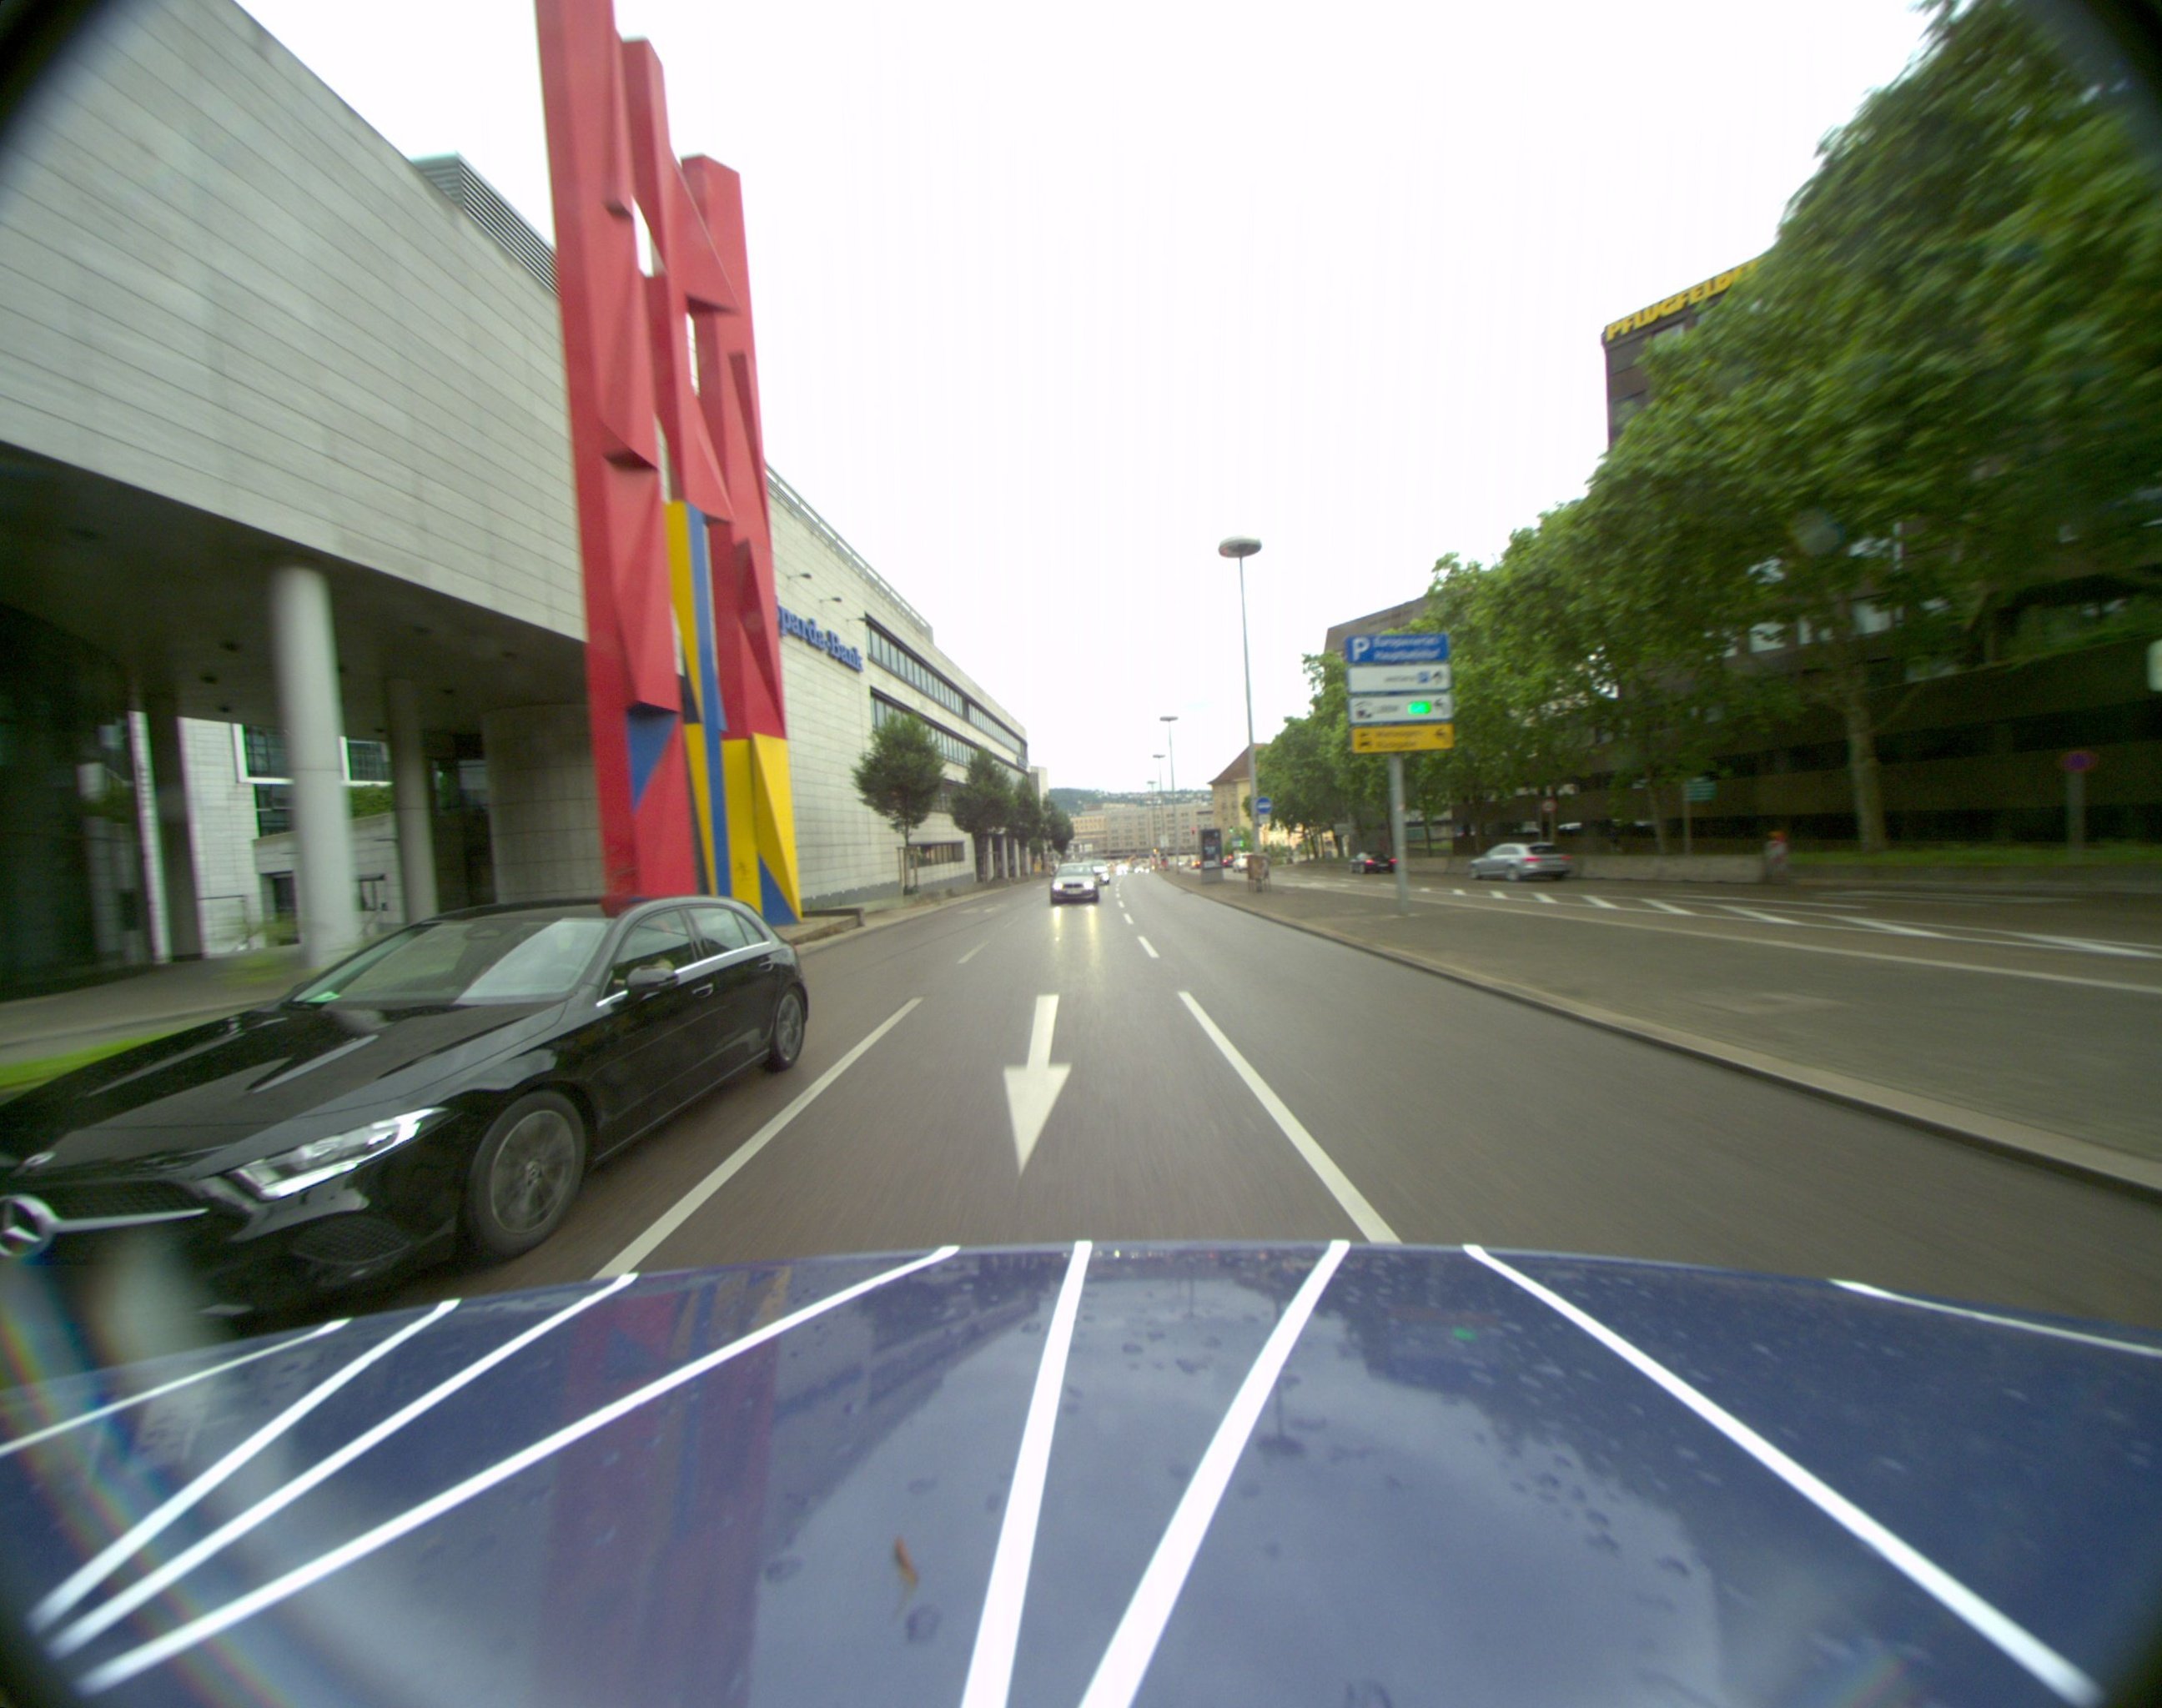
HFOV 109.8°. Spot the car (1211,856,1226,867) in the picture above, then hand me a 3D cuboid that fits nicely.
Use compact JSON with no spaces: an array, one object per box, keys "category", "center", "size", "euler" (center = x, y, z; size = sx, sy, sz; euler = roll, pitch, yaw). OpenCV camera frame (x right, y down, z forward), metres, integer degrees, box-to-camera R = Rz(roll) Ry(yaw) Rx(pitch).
[{"category":"car","center":[20.340,1.095,112.433],"size":[1.937,1.428,4.078],"euler":[-2,0,6]}]

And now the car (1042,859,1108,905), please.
[{"category":"car","center":[-0.151,0.973,28.085],"size":[1.862,1.428,4.207],"euler":[-2,0,7]}]

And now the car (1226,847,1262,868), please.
[{"category":"car","center":[12.582,0.254,58.765],"size":[1.758,1.510,3.739],"euler":[-2,0,-3]}]

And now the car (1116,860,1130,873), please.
[{"category":"car","center":[6.738,1.984,121.448],"size":[1.997,2.002,4.002],"euler":[-2,0,7]}]

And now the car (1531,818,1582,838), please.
[{"category":"car","center":[46.085,-2.496,73.748],"size":[3.990,1.707,2.004],"euler":[-3,0,29]}]

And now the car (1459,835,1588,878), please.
[{"category":"car","center":[16.765,0.079,29.158],"size":[1.999,1.439,4.880],"euler":[-2,0,-1]}]

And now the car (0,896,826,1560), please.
[{"category":"car","center":[-3.155,1.084,4.035],"size":[1.877,1.428,4.207],"euler":[-3,0,4]}]

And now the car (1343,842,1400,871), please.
[{"category":"car","center":[16.844,0.135,44.245],"size":[1.758,1.510,4.170],"euler":[-2,0,1]}]

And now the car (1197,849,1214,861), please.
[{"category":"car","center":[17.023,0.140,104.051],"size":[1.798,1.477,3.865],"euler":[-3,0,4]}]

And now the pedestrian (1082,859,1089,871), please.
[{"category":"pedestrian","center":[0.767,1.758,123.936],"size":[0.765,1.935,0.995],"euler":[-2,1,23]}]

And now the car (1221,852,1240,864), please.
[{"category":"car","center":[18.876,0.538,96.073],"size":[1.937,1.491,4.175],"euler":[-2,-1,6]}]

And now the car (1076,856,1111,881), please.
[{"category":"car","center":[0.801,0.834,45.769],"size":[1.862,1.449,4.207],"euler":[-1,0,5]}]

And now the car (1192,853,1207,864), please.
[{"category":"car","center":[17.309,0.666,110.703],"size":[1.798,1.477,3.864],"euler":[-2,1,4]}]
